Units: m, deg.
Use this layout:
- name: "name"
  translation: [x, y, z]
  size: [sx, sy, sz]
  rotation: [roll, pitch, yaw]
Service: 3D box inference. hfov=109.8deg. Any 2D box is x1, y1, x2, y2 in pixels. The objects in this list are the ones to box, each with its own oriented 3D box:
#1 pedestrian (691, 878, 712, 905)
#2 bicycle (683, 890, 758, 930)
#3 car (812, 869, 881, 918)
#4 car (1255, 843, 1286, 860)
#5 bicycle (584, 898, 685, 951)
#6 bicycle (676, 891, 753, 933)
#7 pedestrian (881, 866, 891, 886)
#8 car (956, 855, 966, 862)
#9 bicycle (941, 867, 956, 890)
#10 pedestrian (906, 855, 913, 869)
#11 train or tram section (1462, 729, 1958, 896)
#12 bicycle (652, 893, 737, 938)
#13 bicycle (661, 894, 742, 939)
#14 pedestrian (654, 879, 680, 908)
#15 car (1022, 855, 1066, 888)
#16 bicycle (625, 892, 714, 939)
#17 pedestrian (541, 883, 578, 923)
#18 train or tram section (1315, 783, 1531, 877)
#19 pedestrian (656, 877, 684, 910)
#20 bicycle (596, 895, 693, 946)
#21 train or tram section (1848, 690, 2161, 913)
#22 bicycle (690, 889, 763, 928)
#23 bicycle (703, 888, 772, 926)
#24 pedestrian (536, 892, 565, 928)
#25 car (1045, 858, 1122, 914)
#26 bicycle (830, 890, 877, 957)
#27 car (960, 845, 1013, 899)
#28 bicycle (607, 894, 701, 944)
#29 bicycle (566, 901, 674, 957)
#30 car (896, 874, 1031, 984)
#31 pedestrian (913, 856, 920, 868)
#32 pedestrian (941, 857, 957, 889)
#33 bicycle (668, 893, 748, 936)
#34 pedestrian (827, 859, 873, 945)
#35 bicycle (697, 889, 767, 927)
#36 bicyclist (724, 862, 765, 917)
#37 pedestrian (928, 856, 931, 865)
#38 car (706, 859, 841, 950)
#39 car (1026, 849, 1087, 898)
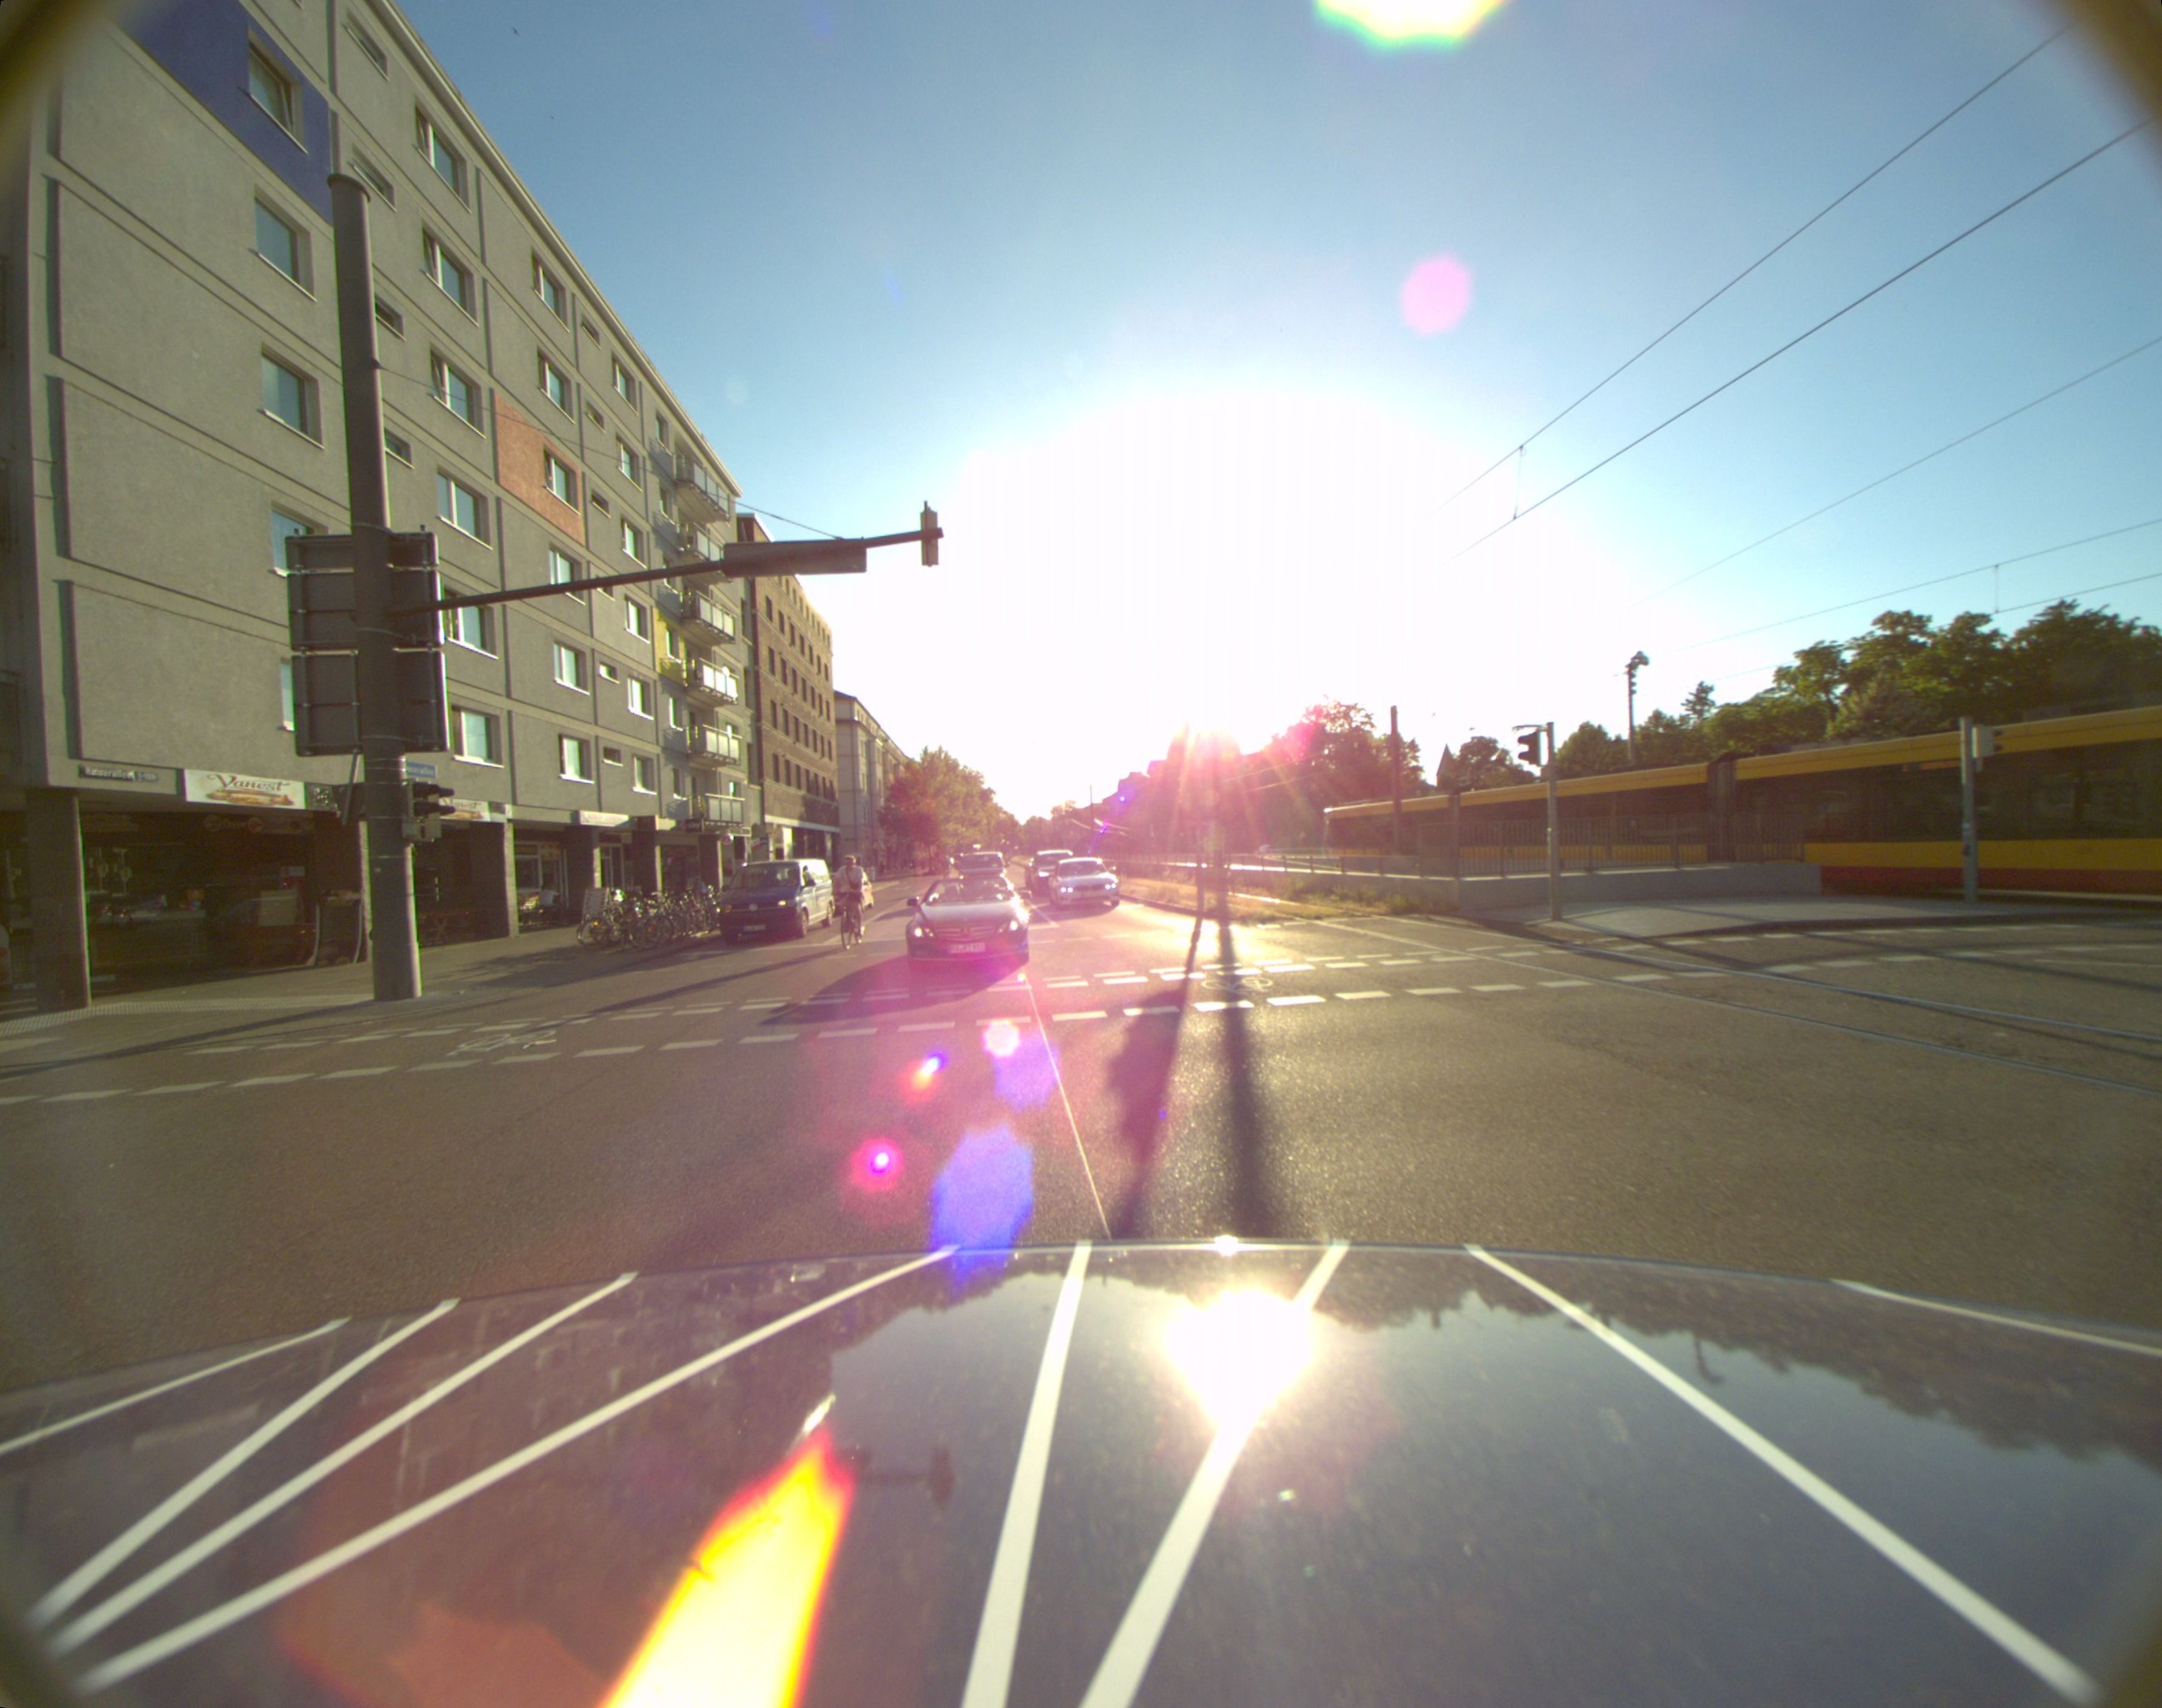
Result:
- name: "pedestrian"
  translation: [-17.047, 1.671, 34.142]
  size: [0.606, 1.145, 0.727]
  rotation: [-3, 1, -7]
- name: "bicycle"
  translation: [-10.466, 1.615, 22.103]
  size: [1.874, 1.119, 0.567]
  rotation: [0, 0, -10]
- name: "car"
  translation: [-8.542, 1.390, 27.970]
  size: [1.688, 1.472, 3.537]
  rotation: [-4, 1, -6]
- name: "car"
  translation: [18.100, -0.213, 72.682]
  size: [1.716, 1.531, 3.671]
  rotation: [-3, 1, -6]
- name: "bicycle"
  translation: [-10.072, 1.571, 17.189]
  size: [1.874, 1.119, 0.606]
  rotation: [0, 0, -10]
- name: "bicycle"
  translation: [-10.365, 1.635, 21.544]
  size: [1.874, 1.119, 0.567]
  rotation: [0, 0, -10]
- name: "pedestrian"
  translation: [-15.936, 1.810, 62.064]
  size: [0.603, 1.587, 0.883]
  rotation: [-3, 1, -7]
- name: "car"
  translation: [-24.307, 0.928, 154.432]
  size: [1.776, 1.474, 4.306]
  rotation: [-3, 0, -6]
- name: "bicycle"
  translation: [-7.025, 1.282, 40.343]
  size: [0.530, 1.152, 1.848]
  rotation: [-4, 1, -5]
- name: "pedestrian"
  translation: [-20.370, 0.967, 90.228]
  size: [0.728, 1.666, 0.923]
  rotation: [-3, 1, -8]
- name: "train or tram section"
  translation: [17.016, -0.931, 23.077]
  size: [2.782, 3.515, 13.242]
  rotation: [-3, 0, -7]
- name: "bicycle"
  translation: [-10.070, 1.591, 19.843]
  size: [1.874, 1.119, 0.567]
  rotation: [0, 0, -10]
- name: "bicycle"
  translation: [-10.171, 1.665, 20.410]
  size: [1.874, 1.119, 0.567]
  rotation: [0, 0, -10]
- name: "pedestrian"
  translation: [-18.167, 1.731, 33.328]
  size: [0.727, 1.224, 0.646]
  rotation: [-3, 1, -5]
- name: "car"
  translation: [-1.898, 0.826, 37.741]
  size: [1.816, 1.393, 3.916]
  rotation: [-5, 1, -7]
- name: "bicycle"
  translation: [-10.332, 1.536, 19.113]
  size: [1.874, 1.119, 0.567]
  rotation: [0, 0, -10]
- name: "pedestrian"
  translation: [-17.143, 1.608, 24.967]
  size: [0.858, 1.266, 0.648]
  rotation: [-2, 1, 31]
- name: "train or tram section"
  translation: [15.406, -0.957, 36.225]
  size: [2.782, 3.515, 13.242]
  rotation: [-3, 0, -7]
- name: "pedestrian"
  translation: [-17.290, 1.650, 31.970]
  size: [0.647, 1.287, 0.954]
  rotation: [-3, 1, -4]
- name: "bicycle"
  translation: [-10.179, 1.549, 17.776]
  size: [1.874, 1.119, 0.567]
  rotation: [0, 0, -10]
- name: "train or tram section"
  translation: [18.515, -0.886, 11.229]
  size: [2.782, 3.515, 10.563]
  rotation: [-3, 0, -7]
- name: "bicycle"
  translation: [-10.561, 1.620, 22.670]
  size: [1.874, 1.119, 0.567]
  rotation: [0, 0, -10]
- name: "bicycle"
  translation: [-10.752, 1.656, 23.813]
  size: [1.874, 1.119, 0.567]
  rotation: [0, 0, -10]
- name: "pedestrian"
  translation: [-16.883, 1.776, 24.186]
  size: [0.648, 1.093, 0.544]
  rotation: [-3, 1, -28]
- name: "car"
  translation: [-0.026, 0.913, 23.698]
  size: [1.843, 1.393, 4.581]
  rotation: [-5, 1, -6]
- name: "bicycle"
  translation: [-4.595, 1.374, 15.431]
  size: [0.530, 1.152, 1.848]
  rotation: [-4, 1, -7]
- name: "car"
  translation: [-3.941, 0.688, 31.529]
  size: [1.921, 1.978, 4.943]
  rotation: [-3, 1, -7]
- name: "bicycle"
  translation: [-10.283, 1.552, 18.345]
  size: [1.874, 1.119, 0.567]
  rotation: [0, 0, -10]
- name: "bicycle"
  translation: [-9.990, 1.618, 16.513]
  size: [1.874, 1.055, 0.606]
  rotation: [-3, 1, -9]
- name: "car"
  translation: [-1.887, 1.089, 12.620]
  size: [1.777, 1.300, 4.237]
  rotation: [-3, 0, -7]
- name: "pedestrian"
  translation: [-19.508, 0.978, 90.204]
  size: [0.728, 1.431, 0.923]
  rotation: [-3, 1, -8]
- name: "pedestrian"
  translation: [-7.038, 0.984, 40.416]
  size: [0.679, 1.639, 0.901]
  rotation: [-4, 1, -7]
- name: "bicycle"
  translation: [-10.274, 1.660, 20.974]
  size: [1.874, 1.119, 0.567]
  rotation: [0, 0, -10]
- name: "pedestrian"
  translation: [-4.650, 0.942, 15.326]
  size: [0.640, 1.639, 0.842]
  rotation: [-4, 1, -7]
- name: "bicycle"
  translation: [-10.655, 1.641, 23.239]
  size: [1.874, 1.119, 0.567]
  rotation: [0, 0, -10]
- name: "bicyclist"
  translation: [-11.542, 1.188, 26.108]
  size: [0.744, 1.797, 1.385]
  rotation: [-3, 1, -4]
- name: "pedestrian"
  translation: [-23.766, 0.960, 118.966]
  size: [0.311, 1.431, 0.357]
  rotation: [-3, 1, 1]
- name: "car"
  translation: [-7.764, 1.163, 19.732]
  size: [1.942, 1.922, 4.829]
  rotation: [-3, 0, -7]
- name: "car"
  translation: [-1.096, 0.741, 31.553]
  size: [1.957, 1.702, 4.847]
  rotation: [-5, 1, -7]
